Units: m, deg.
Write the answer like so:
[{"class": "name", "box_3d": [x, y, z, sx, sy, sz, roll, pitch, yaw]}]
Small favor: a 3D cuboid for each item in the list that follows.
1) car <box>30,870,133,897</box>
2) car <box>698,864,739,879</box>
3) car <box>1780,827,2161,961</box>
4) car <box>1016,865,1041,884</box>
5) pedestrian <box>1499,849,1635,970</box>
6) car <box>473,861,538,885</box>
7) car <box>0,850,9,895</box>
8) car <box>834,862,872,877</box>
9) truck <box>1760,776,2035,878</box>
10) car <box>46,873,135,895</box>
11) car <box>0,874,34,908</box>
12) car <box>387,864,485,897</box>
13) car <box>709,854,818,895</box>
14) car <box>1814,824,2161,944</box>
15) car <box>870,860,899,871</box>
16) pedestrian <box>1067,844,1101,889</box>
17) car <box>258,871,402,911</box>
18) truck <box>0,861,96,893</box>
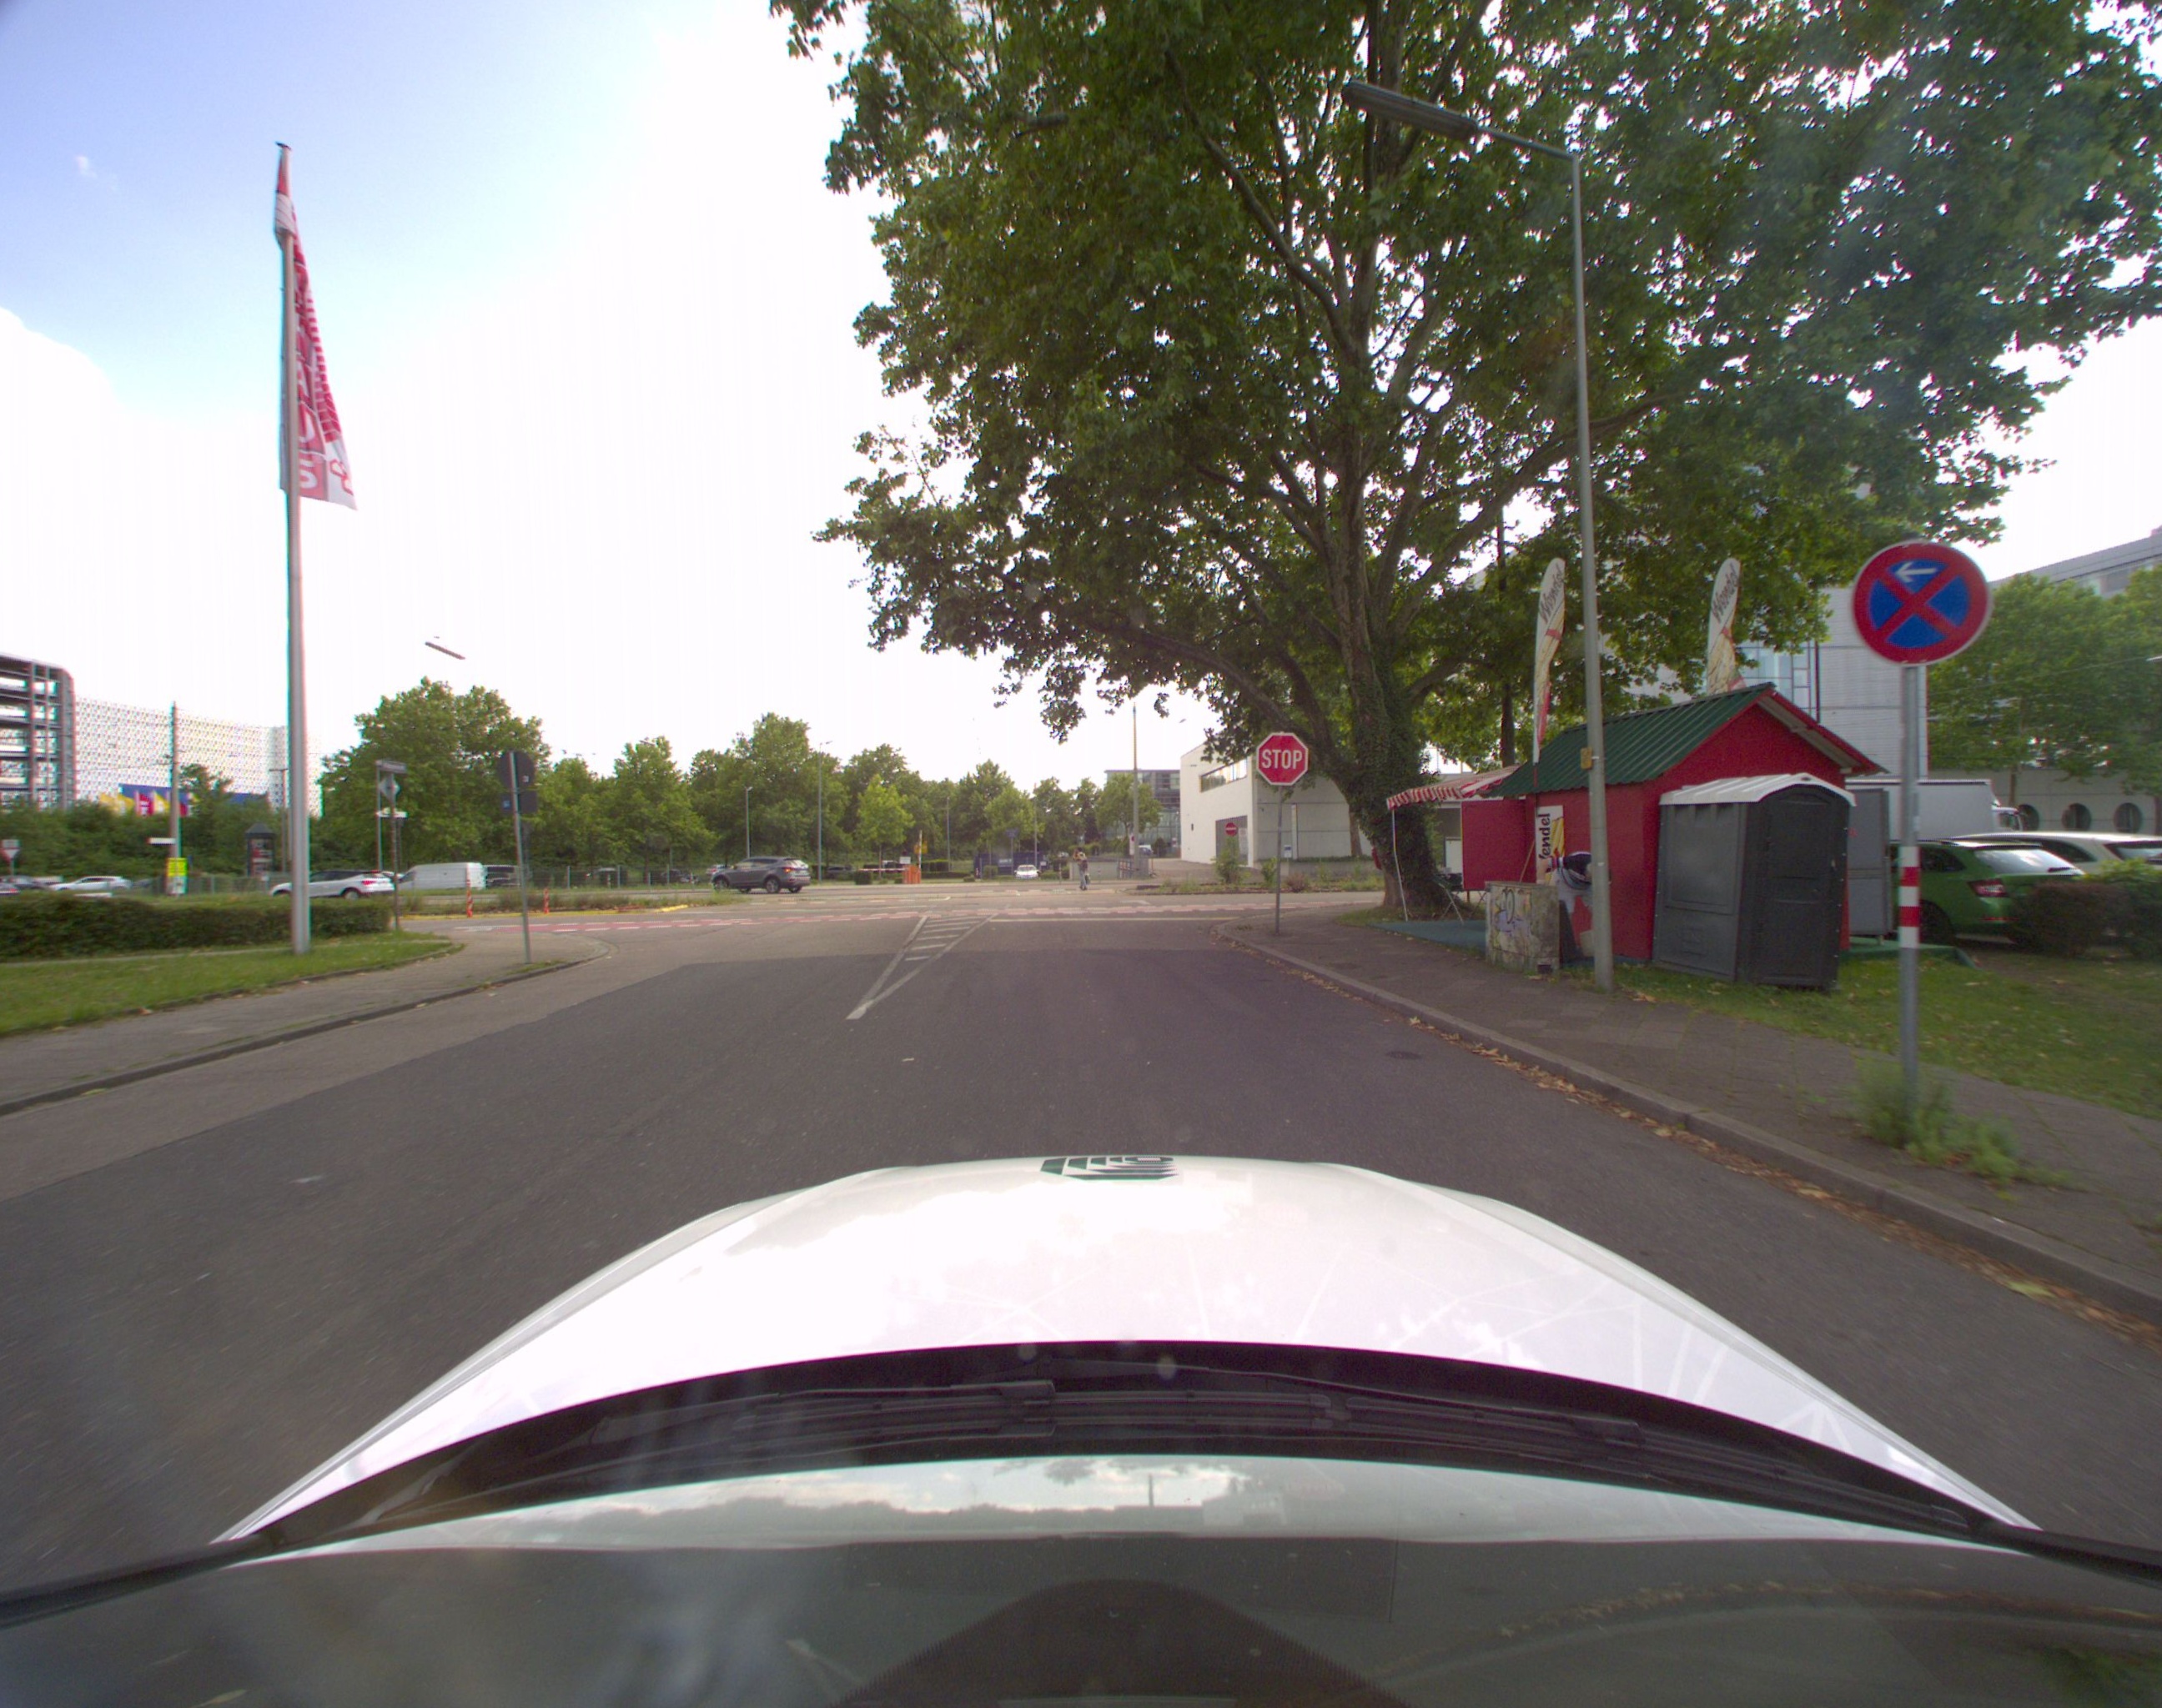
[{"class": "car", "box_3d": [-71.861, 2.095, 58.644, 1.896, 1.790, 4.410, -1, 0, 28]}, {"class": "car", "box_3d": [-44.179, 2.131, 99.323, 1.896, 1.721, 4.326, -1, 0, 28]}, {"class": "car", "box_3d": [12.292, 0.443, 11.304, 1.734, 1.512, 3.999, -1, 0, -1]}, {"class": "car", "box_3d": [-4.195, 1.579, 65.246, 1.927, 1.403, 4.076, -1, 0, -3]}, {"class": "pedestrian", "box_3d": [5.575, 0.607, 9.408, 1.009, 1.314, 0.965, -1, 0, 3]}, {"class": "car", "box_3d": [-54.219, 1.749, 76.802, 1.838, 2.135, 4.597, -1, 0, 27]}, {"class": "car", "box_3d": [-61.951, 1.028, 44.271, 2.213, 2.578, 6.340, -1, 0, -31]}, {"class": "car", "box_3d": [-26.344, 1.794, 94.288, 3.950, 1.701, 1.921, -1, 0, 27]}, {"class": "truck", "box_3d": [33.661, -1.093, 33.698, 9.505, 3.896, 2.793, -1, -1, -8]}, {"class": "car", "box_3d": [-75.385, 2.263, 62.059, 1.851, 1.557, 4.024, -1, 0, 28]}, {"class": "car", "box_3d": [-46.842, 1.578, 33.644, 4.216, 1.406, 1.919, -1, 0, -7]}, {"class": "car", "box_3d": [-46.491, 1.860, 58.809, 5.283, 2.211, 1.793, -1, 0, -8]}, {"class": "car", "box_3d": [-14.581, 0.925, 37.513, 4.234, 1.815, 1.974, -1, 0, 11]}, {"class": "car", "box_3d": [14.437, 0.383, 12.874, 1.741, 1.568, 3.984, -1, 0, -12]}, {"class": "car", "box_3d": [-29.715, 1.736, 123.459, 1.896, 1.721, 4.326, -1, 0, 28]}, {"class": "pedestrian", "box_3d": [0.118, 0.523, 34.040, 1.004, 1.849, 1.220, -1, 0, -22]}, {"class": "car", "box_3d": [-32.500, 1.573, 35.352, 4.216, 1.579, 1.919, -1, 0, -7]}, {"class": "truck", "box_3d": [-79.119, 1.727, 61.484, 2.008, 2.288, 5.771, -1, 0, 28]}]
